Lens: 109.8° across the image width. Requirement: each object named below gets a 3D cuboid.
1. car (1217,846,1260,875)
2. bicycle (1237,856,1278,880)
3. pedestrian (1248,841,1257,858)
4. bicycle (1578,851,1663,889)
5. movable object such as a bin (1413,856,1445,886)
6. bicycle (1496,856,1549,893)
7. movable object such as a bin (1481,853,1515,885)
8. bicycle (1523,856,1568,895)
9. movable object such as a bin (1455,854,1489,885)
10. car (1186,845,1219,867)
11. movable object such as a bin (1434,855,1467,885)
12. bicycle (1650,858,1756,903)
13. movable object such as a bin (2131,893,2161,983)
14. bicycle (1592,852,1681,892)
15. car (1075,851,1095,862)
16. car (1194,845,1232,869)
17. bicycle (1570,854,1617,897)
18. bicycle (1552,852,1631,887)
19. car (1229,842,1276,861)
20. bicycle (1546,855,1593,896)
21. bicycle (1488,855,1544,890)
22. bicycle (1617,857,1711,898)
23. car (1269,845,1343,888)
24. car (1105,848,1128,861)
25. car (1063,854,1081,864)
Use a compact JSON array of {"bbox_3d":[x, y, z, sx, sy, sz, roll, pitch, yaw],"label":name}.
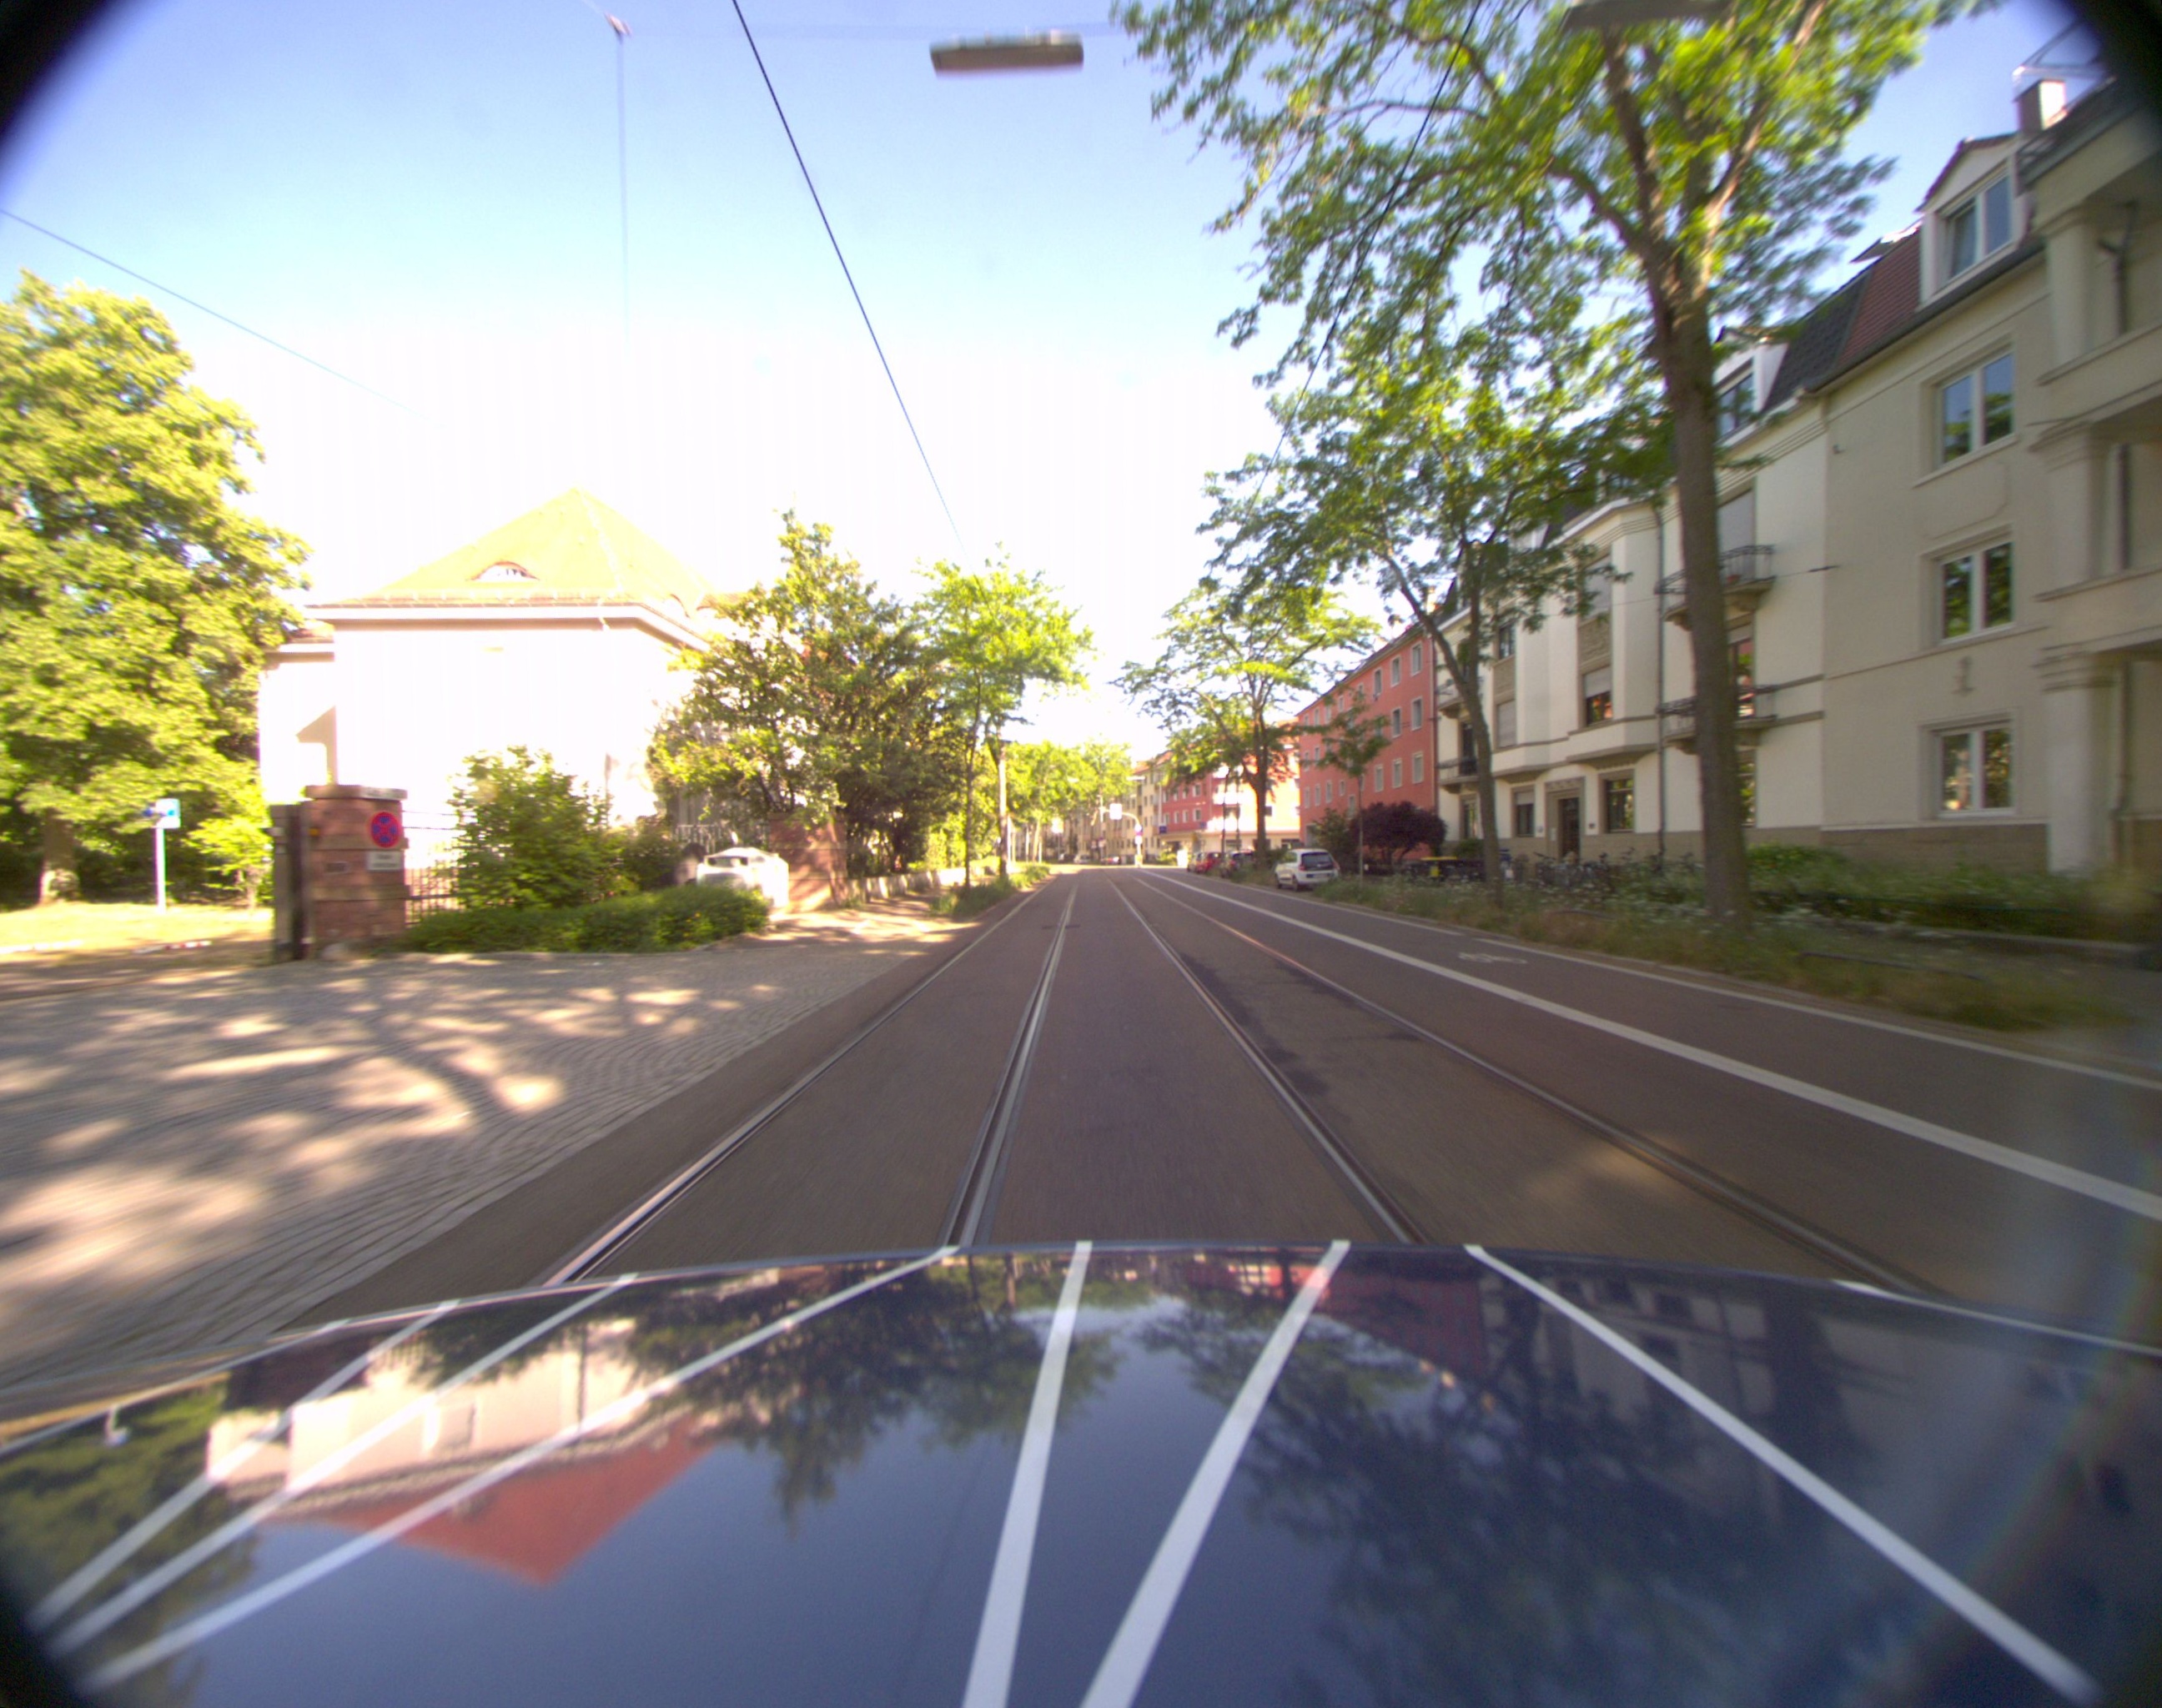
[{"bbox_3d":[8.466,0.322,41.074,1.558,1.446,3.667,-2,0,0],"label":"car"},{"bbox_3d":[8.539,0.676,36.791,1.817,1.114,0.543,-1,1,1],"label":"bicycle"},{"bbox_3d":[17.933,-0.514,79.364,0.803,1.755,0.509,0,1,20],"label":"pedestrian"},{"bbox_3d":[15.130,0.460,21.351,1.857,0.990,0.559,-3,-1,42],"label":"bicycle"},{"bbox_3d":[12.450,0.597,27.195,0.739,1.035,0.895,-1,1,1],"label":"movable object such as a bin"},{"bbox_3d":[12.765,0.575,21.959,1.865,0.991,0.557,-1,1,-33],"label":"bicycle"},{"bbox_3d":[14.896,0.519,27.184,0.739,1.107,0.895,-1,1,1],"label":"movable object such as a bin"},{"bbox_3d":[12.724,0.558,20.777,1.866,0.991,0.557,-1,1,-43],"label":"bicycle"},{"bbox_3d":[13.972,0.548,27.174,0.739,1.078,0.895,-1,1,1],"label":"movable object such as a bin"},{"bbox_3d":[8.777,0.114,55.065,1.577,1.497,4.095,-2,0,-1],"label":"car"},{"bbox_3d":[13.206,0.573,27.177,0.739,1.048,0.895,-1,1,1],"label":"movable object such as a bin"},{"bbox_3d":[14.548,0.638,17.840,1.857,0.990,0.559,-3,-1,35],"label":"bicycle"},{"bbox_3d":[11.628,0.879,7.817,0.629,0.916,0.740,-2,1,1],"label":"movable object such as a bin"},{"bbox_3d":[14.954,0.495,20.500,1.857,0.990,0.559,-3,-1,42],"label":"bicycle"},{"bbox_3d":[0.526,0.380,104.319,1.880,1.390,3.996,-4,0,-10],"label":"car"},{"bbox_3d":[8.614,0.169,49.928,1.577,1.446,4.095,-2,0,-2],"label":"car"},{"bbox_3d":[12.586,0.504,18.632,1.866,0.991,0.557,-1,1,-43],"label":"bicycle"},{"bbox_3d":[15.033,0.466,22.413,1.857,0.990,0.559,-3,-1,42],"label":"bicycle"},{"bbox_3d":[16.506,-0.202,73.018,4.280,1.769,1.791,0,1,17],"label":"car"},{"bbox_3d":[12.659,0.542,19.668,1.866,0.991,0.557,-1,1,-43],"label":"bicycle"},{"bbox_3d":[13.183,0.555,23.018,1.865,0.991,0.557,-1,1,-28],"label":"bicycle"},{"bbox_3d":[14.954,0.603,19.554,1.857,0.990,0.559,-3,-1,35],"label":"bicycle"},{"bbox_3d":[8.575,0.434,29.249,1.629,1.526,3.689,-2,0,-1],"label":"car"},{"bbox_3d":[4.238,0.035,91.026,1.880,1.390,3.996,-4,0,-10],"label":"car"},{"bbox_3d":[-1.321,0.744,111.298,1.880,1.390,3.996,-4,0,-10],"label":"car"}]
